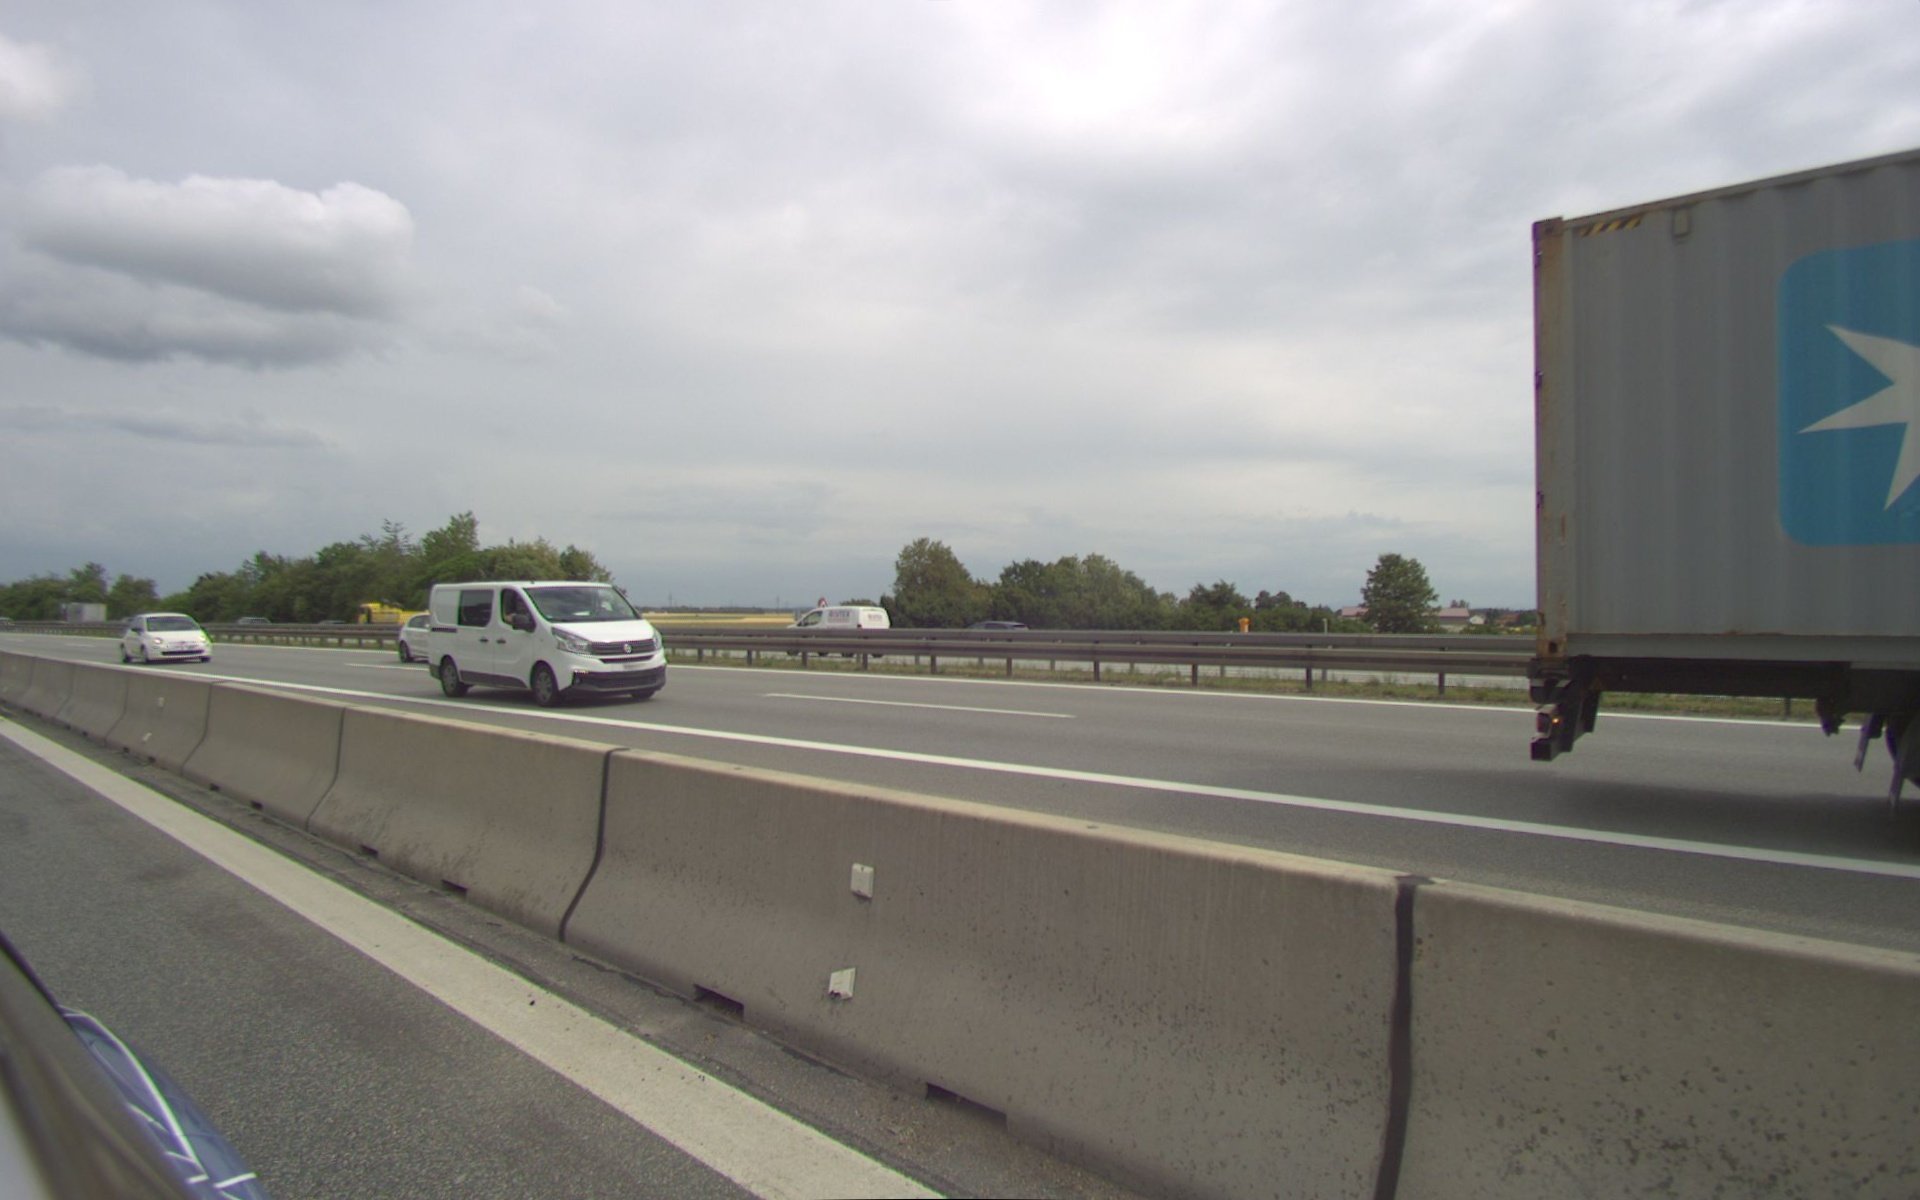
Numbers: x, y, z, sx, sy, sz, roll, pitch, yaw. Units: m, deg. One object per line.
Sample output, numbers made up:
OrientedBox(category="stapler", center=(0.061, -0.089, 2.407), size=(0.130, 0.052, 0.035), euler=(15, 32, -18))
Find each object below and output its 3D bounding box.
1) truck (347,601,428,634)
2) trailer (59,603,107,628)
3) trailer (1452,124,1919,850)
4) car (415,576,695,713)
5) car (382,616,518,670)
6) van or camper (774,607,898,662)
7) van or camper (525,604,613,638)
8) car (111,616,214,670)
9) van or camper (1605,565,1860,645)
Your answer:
OrientedBox(category="truck", center=(-50.450, 1.564, 89.060), size=(8.764, 2.795, 2.880), euler=(-1, -1, 37))
OrientedBox(category="trailer", center=(-121.608, 2.115, 140.278), size=(9.810, 3.294, 3.167), euler=(-1, -1, 38))
OrientedBox(category="trailer", center=(9.228, -0.670, 4.383), size=(12.363, 3.954, 3.205), euler=(-1, 0, 38))
OrientedBox(category="car", center=(-6.811, 0.641, 16.744), size=(5.125, 1.952, 1.981), euler=(-1, 0, 38))
OrientedBox(category="car", center=(-14.314, 1.149, 28.310), size=(4.198, 1.379, 1.736), euler=(-1, -1, 37))
OrientedBox(category="van or camper", center=(-4.479, 1.203, 36.233), size=(4.343, 1.842, 1.974), euler=(-1, -1, 39))
OrientedBox(category="van or camper", center=(-24.716, 1.335, 63.857), size=(6.266, 2.029, 2.215), euler=(-1, -1, 36))
OrientedBox(category="car", center=(-24.228, 1.269, 30.723), size=(3.770, 1.496, 1.664), euler=(-1, -1, 39))
OrientedBox(category="van or camper", center=(22.683, 0.180, 30.016), size=(5.800, 2.188, 2.166), euler=(-1, -1, 38))
